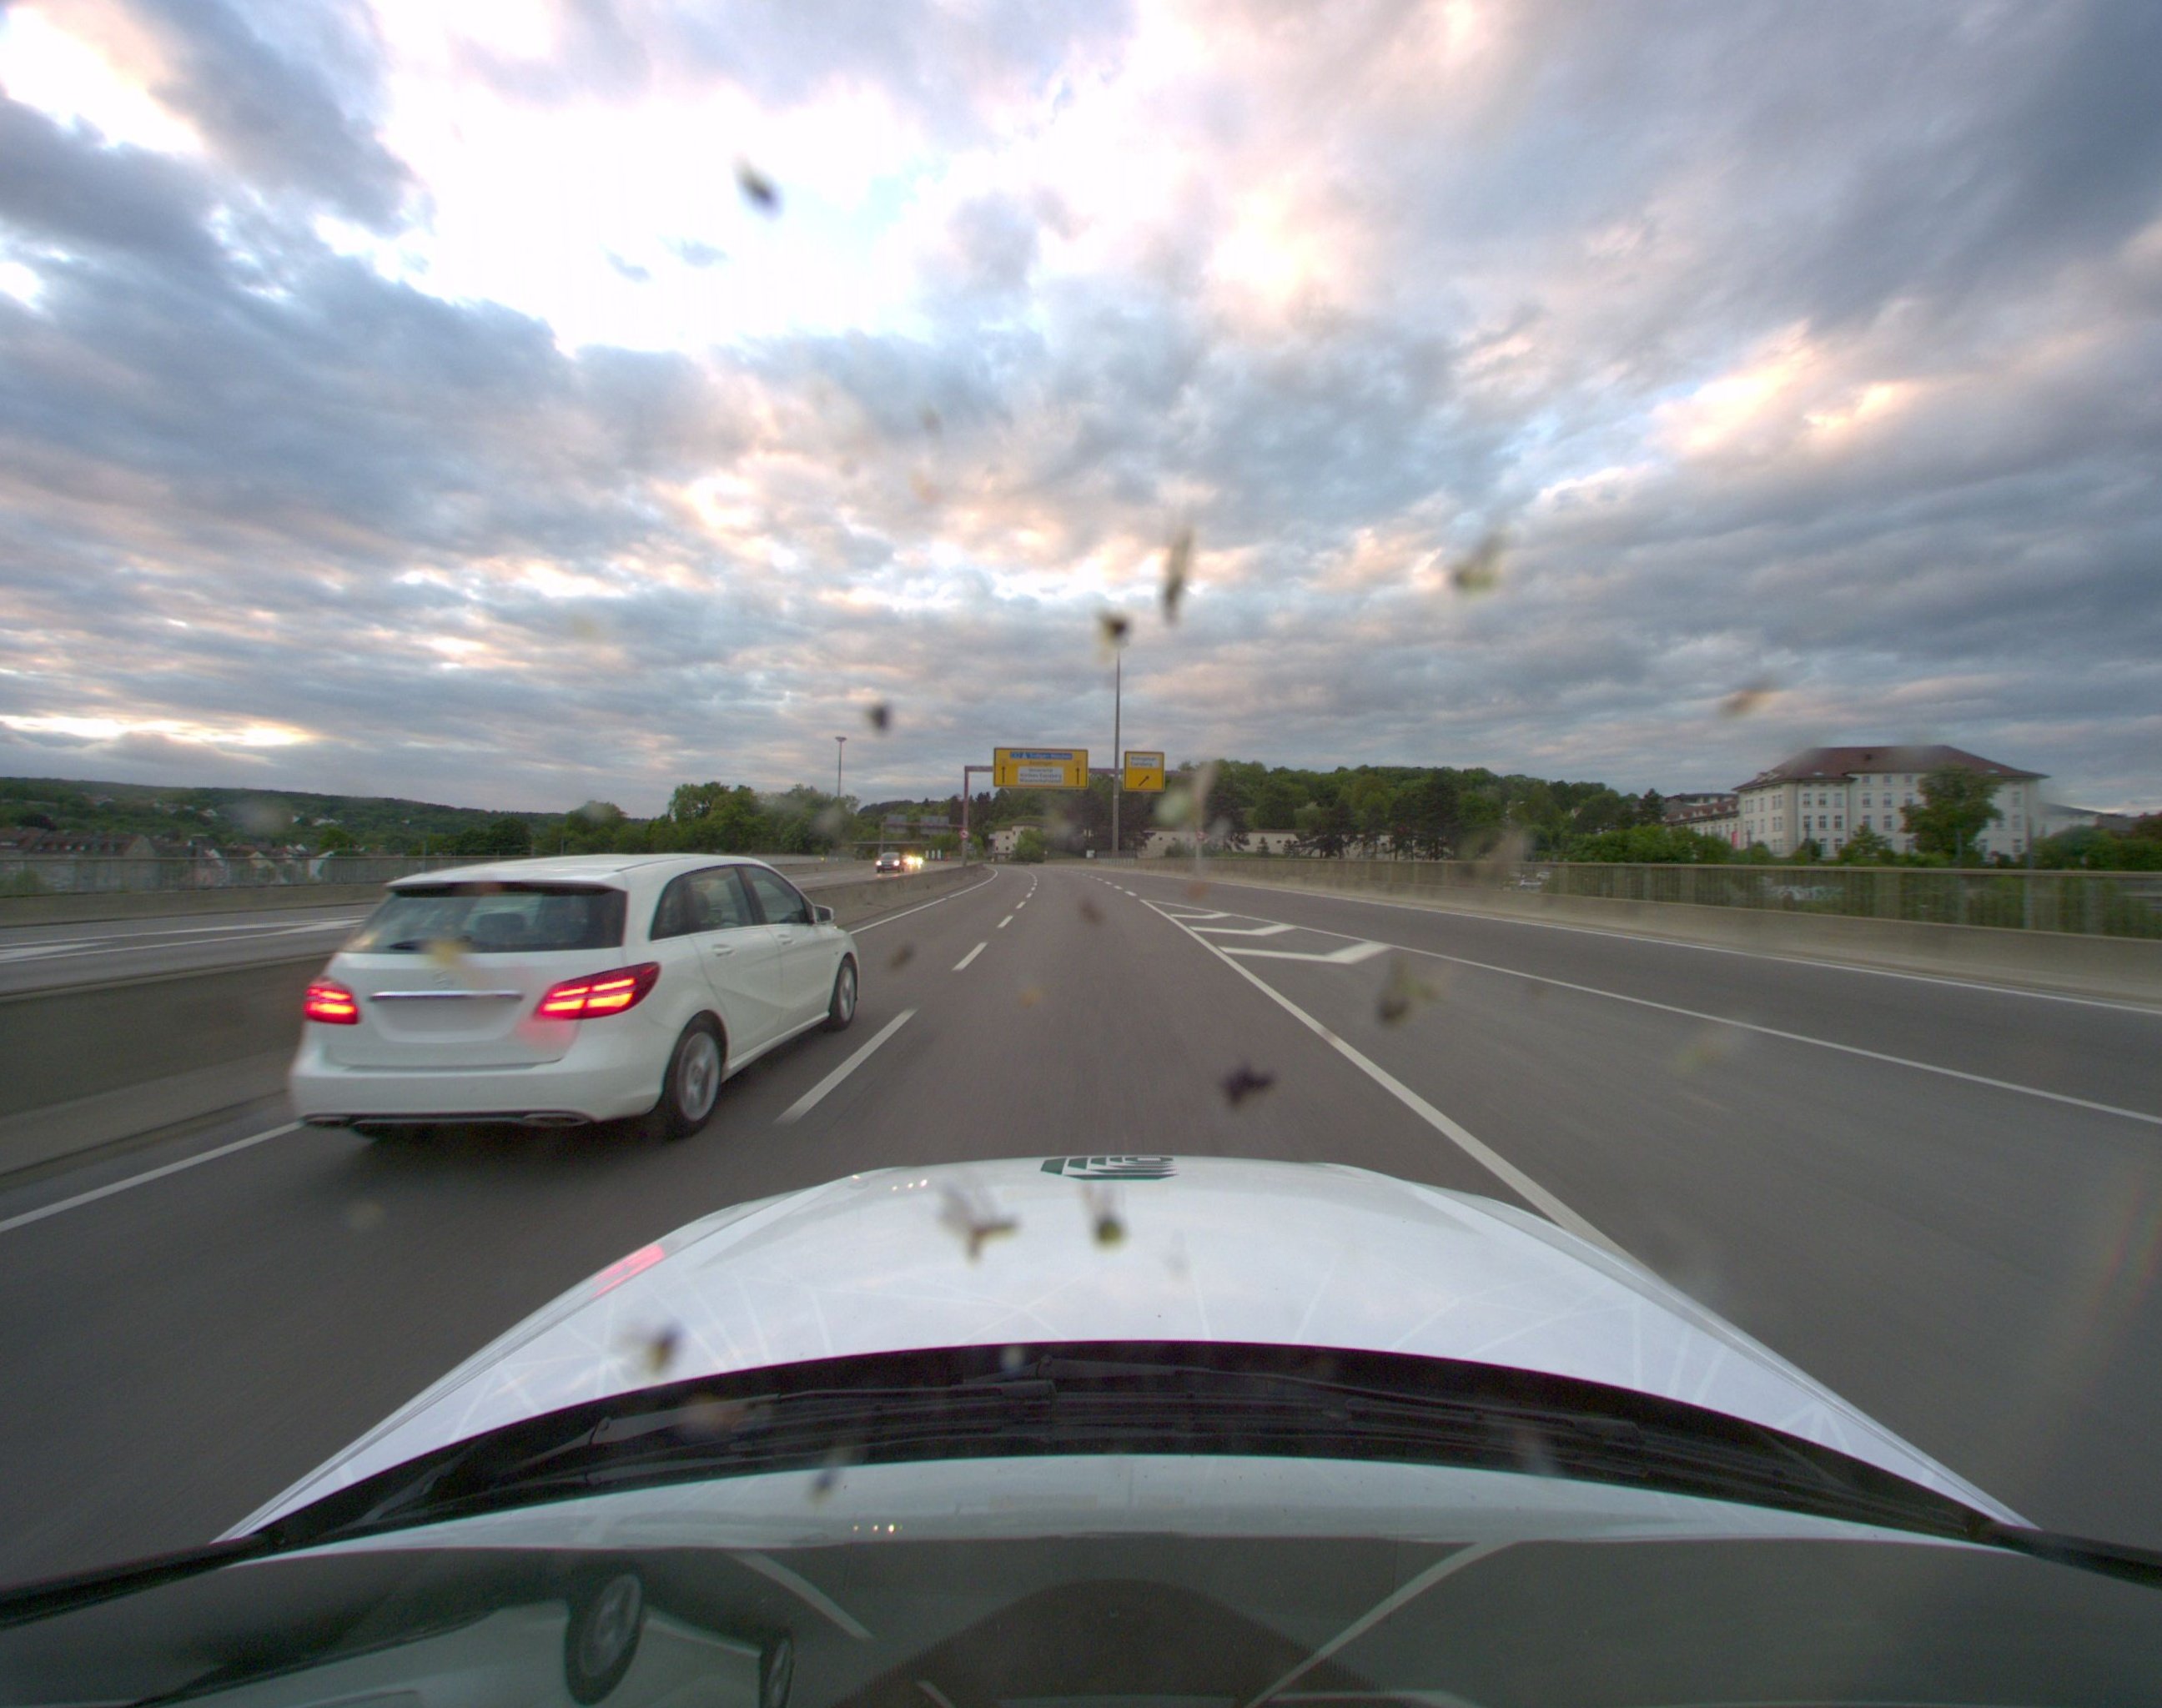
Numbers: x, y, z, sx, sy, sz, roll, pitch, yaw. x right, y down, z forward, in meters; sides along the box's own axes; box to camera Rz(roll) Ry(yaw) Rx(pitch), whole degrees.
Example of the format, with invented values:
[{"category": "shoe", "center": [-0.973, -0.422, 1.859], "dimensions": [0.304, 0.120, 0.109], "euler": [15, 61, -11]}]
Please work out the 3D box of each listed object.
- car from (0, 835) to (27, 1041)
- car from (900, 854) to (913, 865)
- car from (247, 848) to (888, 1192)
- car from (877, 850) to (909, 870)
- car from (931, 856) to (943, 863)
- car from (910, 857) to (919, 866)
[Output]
[{"category": "car", "center": [-8.990, 0.637, 3.941], "dimensions": [1.805, 1.534, 4.547], "euler": [0, 0, 1]}, {"category": "car", "center": [-26.140, 0.836, 122.153], "dimensions": [1.667, 1.732, 3.987], "euler": [0, 0, -10]}, {"category": "car", "center": [-2.894, 0.762, 6.079], "dimensions": [1.685, 1.537, 4.784], "euler": [-1, 0, 1]}, {"category": "car", "center": [-13.899, 0.424, 60.396], "dimensions": [1.728, 1.476, 4.216], "euler": [0, 0, -5]}, {"category": "car", "center": [-38.067, 1.466, 215.331], "dimensions": [2.005, 1.838, 3.963], "euler": [1, -2, -29]}, {"category": "car", "center": [-31.809, 1.353, 155.555], "dimensions": [1.667, 1.642, 3.987], "euler": [-1, 1, -10]}]
